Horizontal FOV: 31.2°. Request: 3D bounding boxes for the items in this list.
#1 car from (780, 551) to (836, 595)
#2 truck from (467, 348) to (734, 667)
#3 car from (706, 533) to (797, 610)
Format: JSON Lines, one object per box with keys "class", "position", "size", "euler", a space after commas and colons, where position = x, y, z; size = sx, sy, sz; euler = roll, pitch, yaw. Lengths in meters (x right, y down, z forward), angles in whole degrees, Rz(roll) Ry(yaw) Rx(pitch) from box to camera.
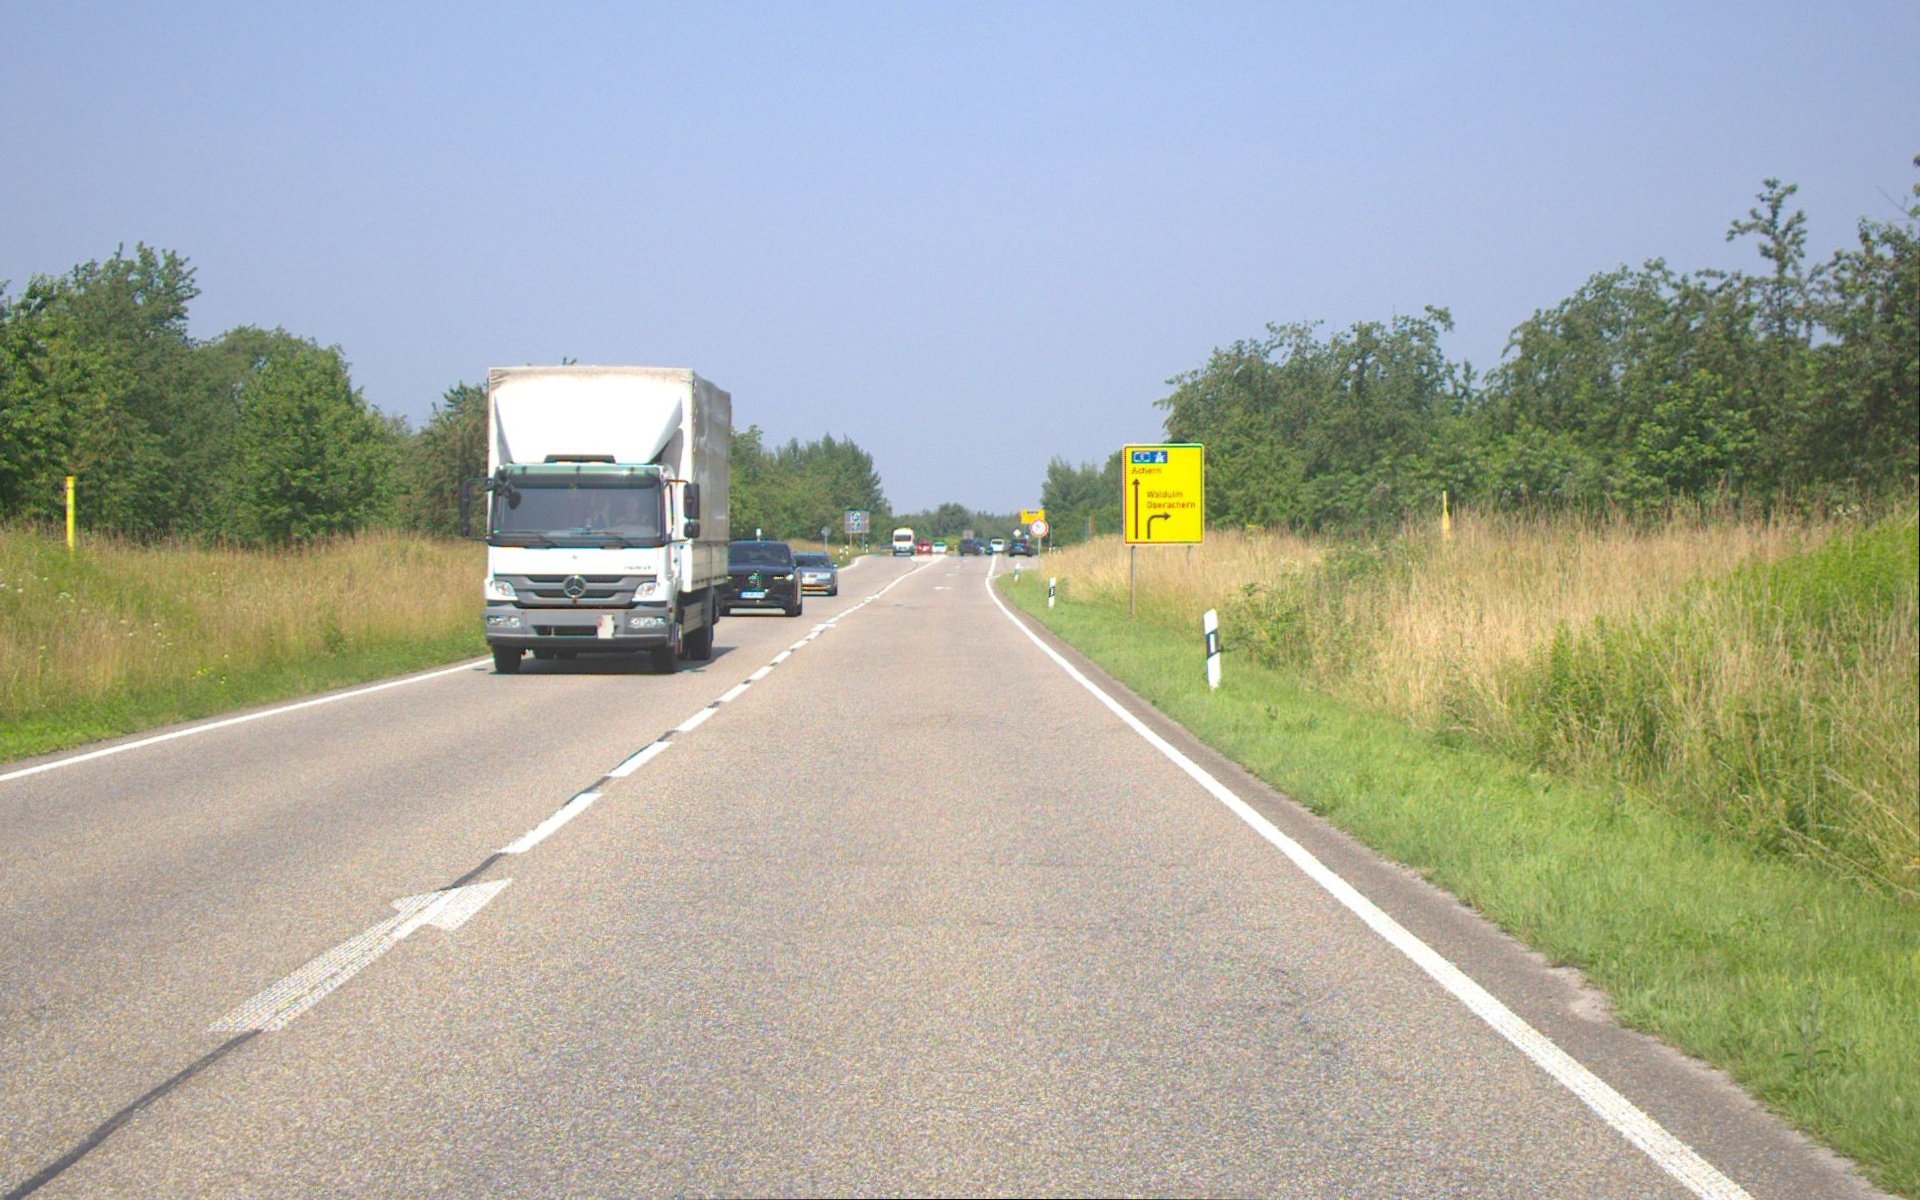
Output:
{"class": "car", "position": [-4.932, -0.908, 112.222], "size": [1.690, 1.404, 4.894], "euler": [0, 1, -1]}
{"class": "truck", "position": [-4.646, -1.175, 46.332], "size": [2.664, 3.825, 10.209], "euler": [0, 1, -1]}
{"class": "car", "position": [-4.646, -0.648, 77.168], "size": [1.836, 1.672, 4.411], "euler": [0, 1, -1]}
